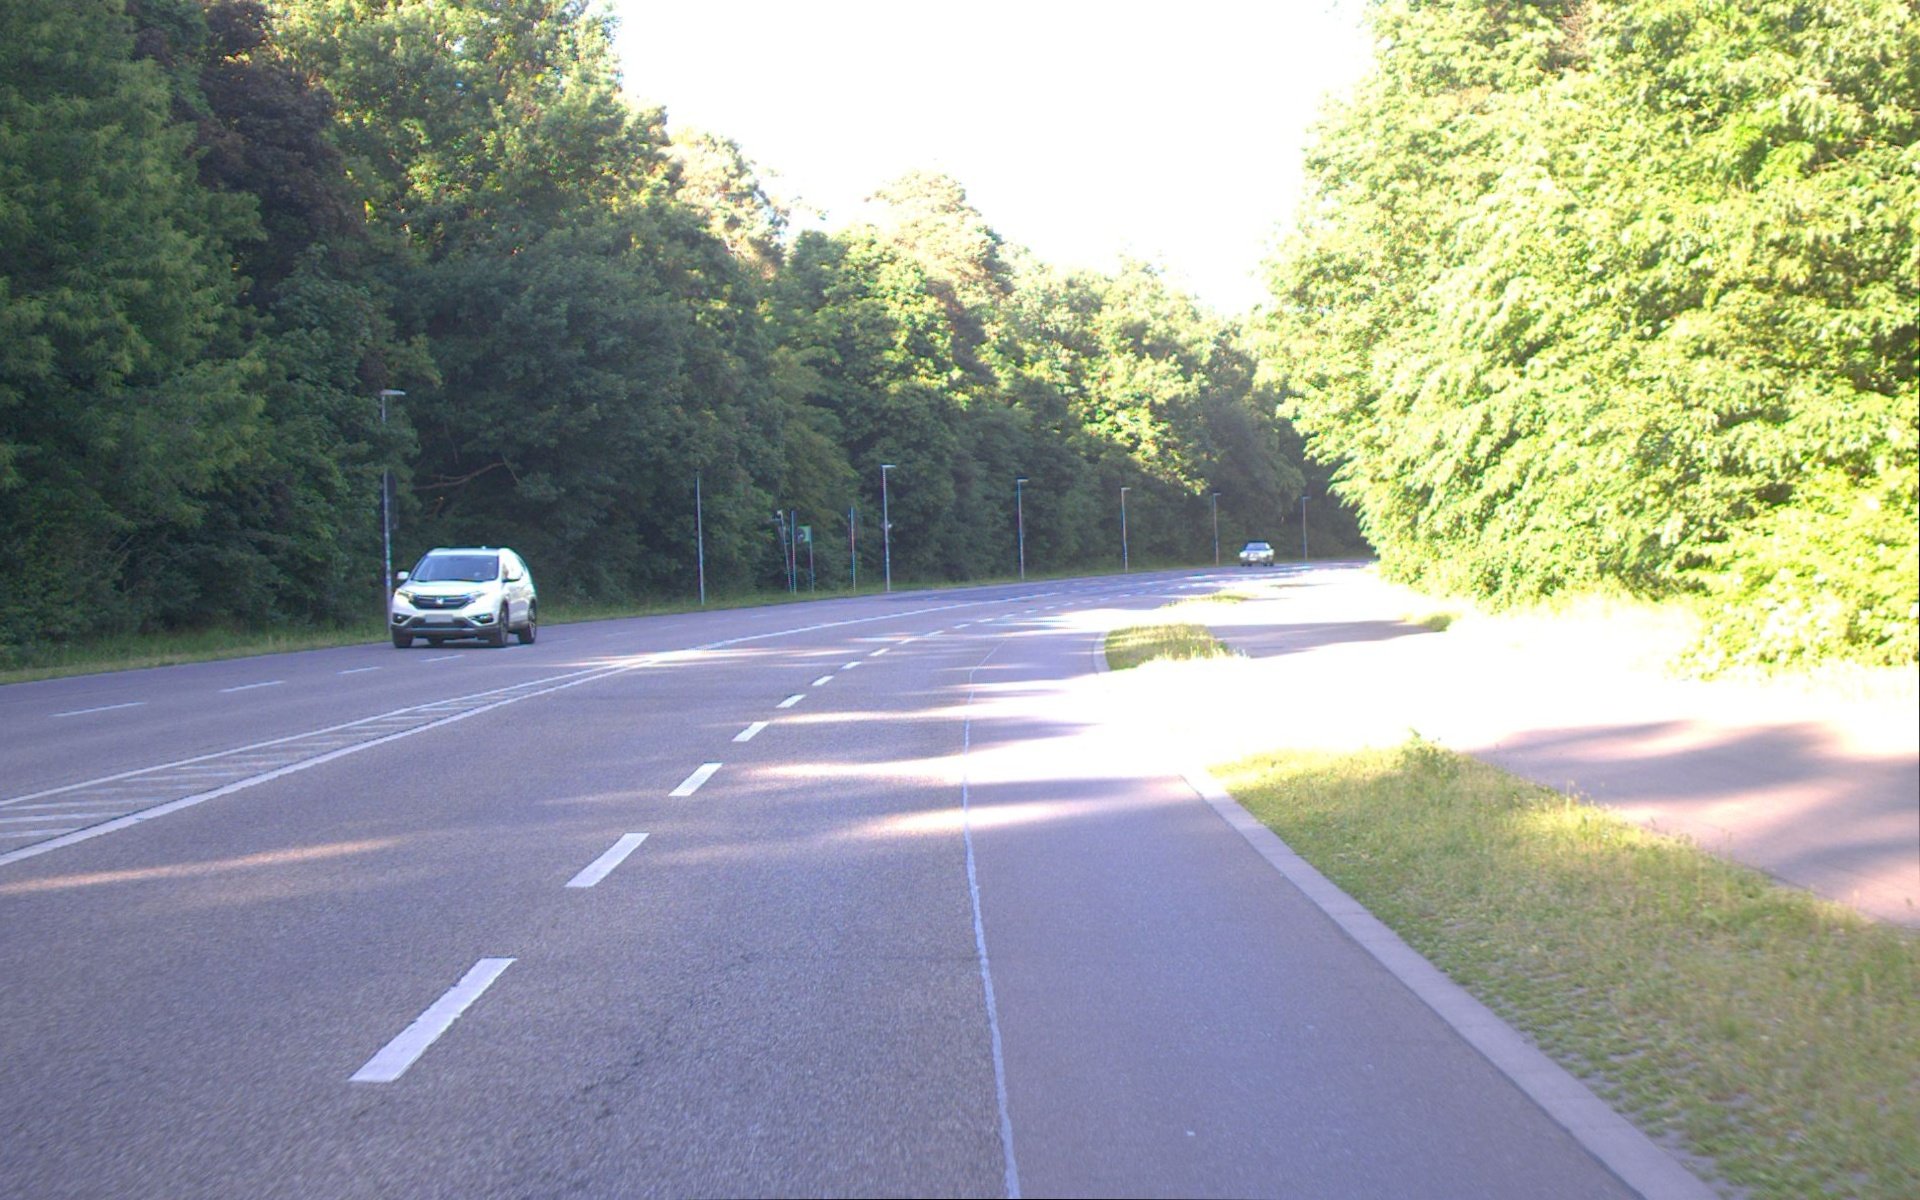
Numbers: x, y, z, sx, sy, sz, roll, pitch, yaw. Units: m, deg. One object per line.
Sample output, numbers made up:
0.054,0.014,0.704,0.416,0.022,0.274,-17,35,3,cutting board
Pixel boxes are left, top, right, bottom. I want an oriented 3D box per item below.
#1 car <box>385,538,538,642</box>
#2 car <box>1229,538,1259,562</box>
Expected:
-8.347,-0.194,57.977,1.908,1.658,4.734,-1,1,0,car
19.606,-3.462,237.242,1.994,1.579,3.999,-1,0,4,car
